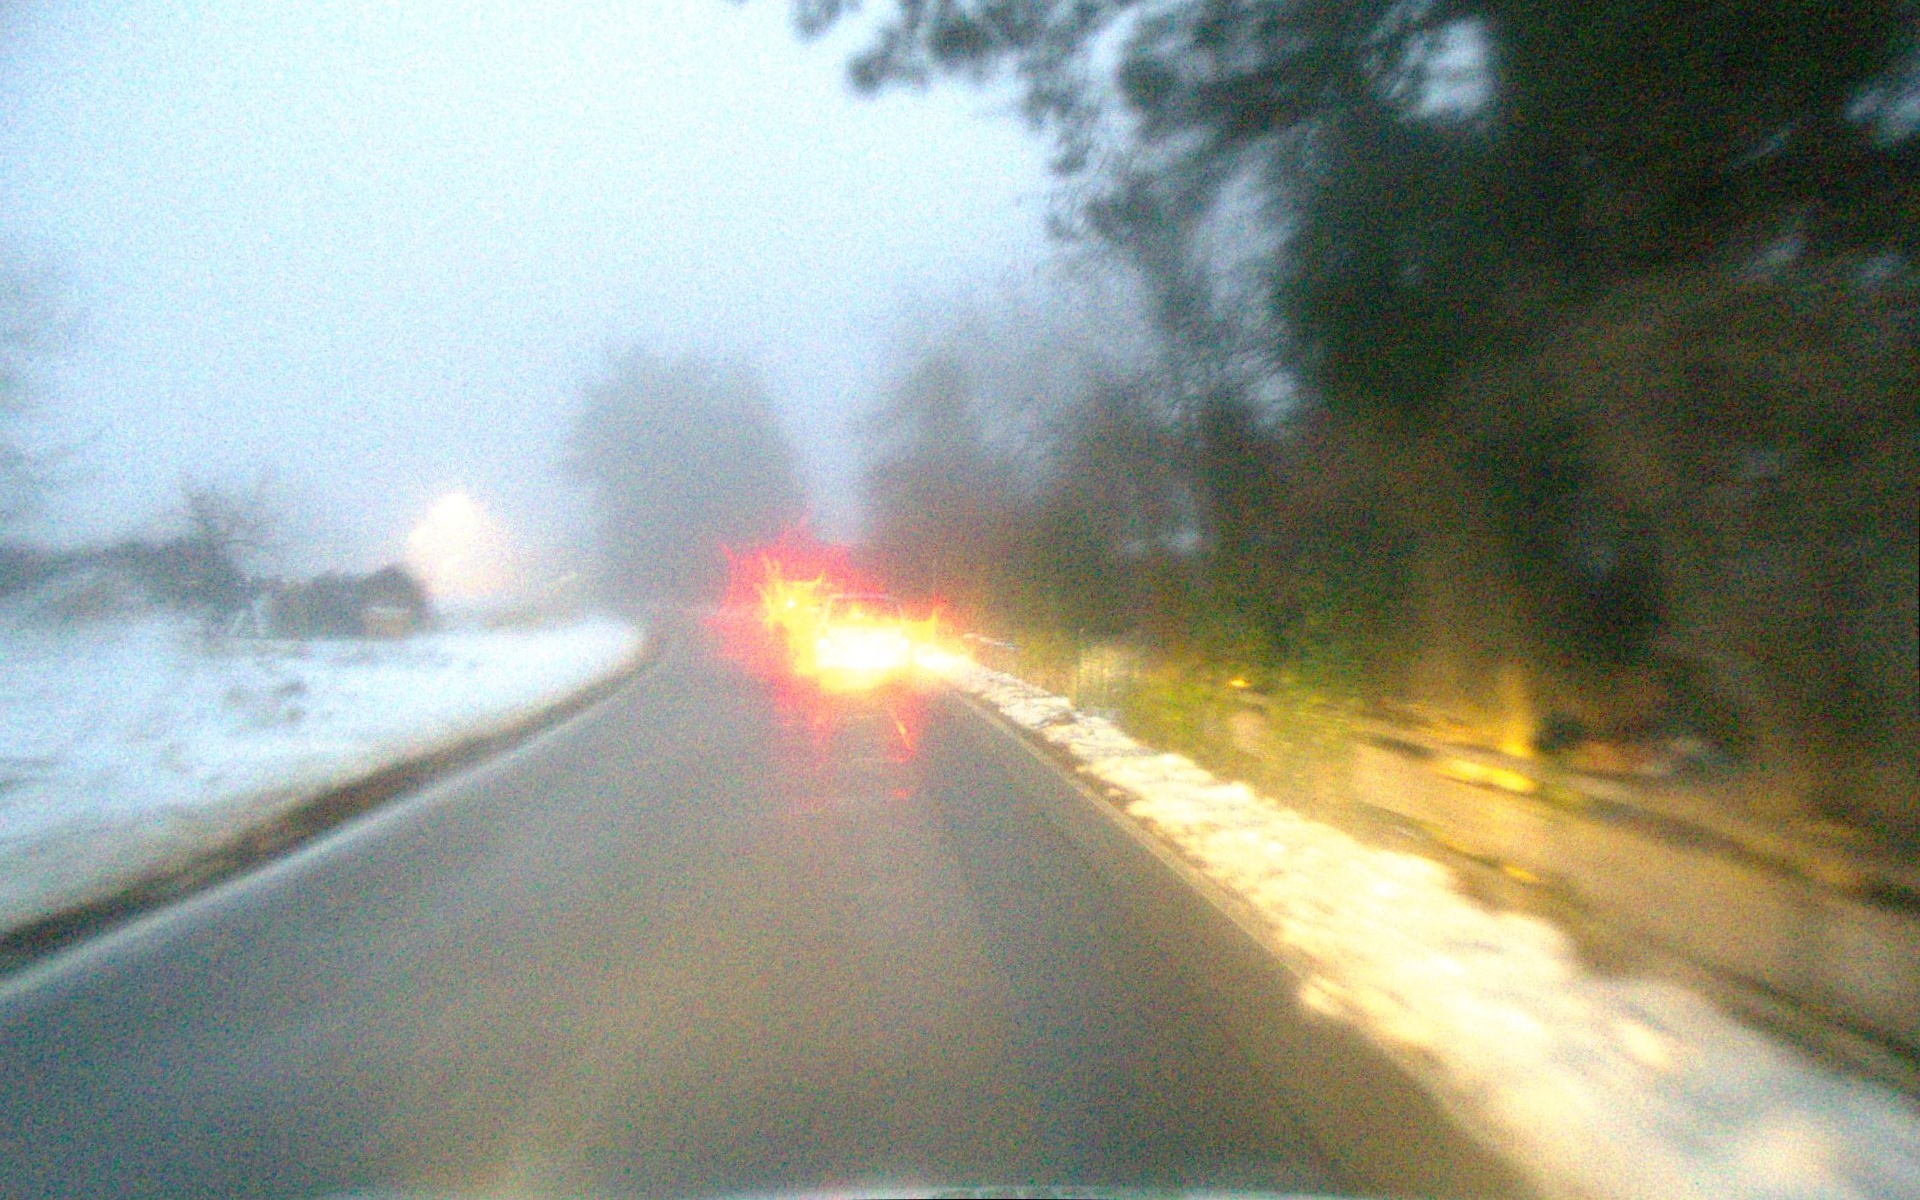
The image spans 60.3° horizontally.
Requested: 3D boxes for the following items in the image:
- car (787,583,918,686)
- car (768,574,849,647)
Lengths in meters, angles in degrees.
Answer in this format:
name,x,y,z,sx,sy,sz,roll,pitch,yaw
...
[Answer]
name,x,y,z,sx,sy,sz,roll,pitch,yaw
car,-1.716,0.537,27.018,1.954,1.534,3.998,1,0,-3
car,-3.899,0.265,43.188,1.954,1.780,3.997,1,0,-4
